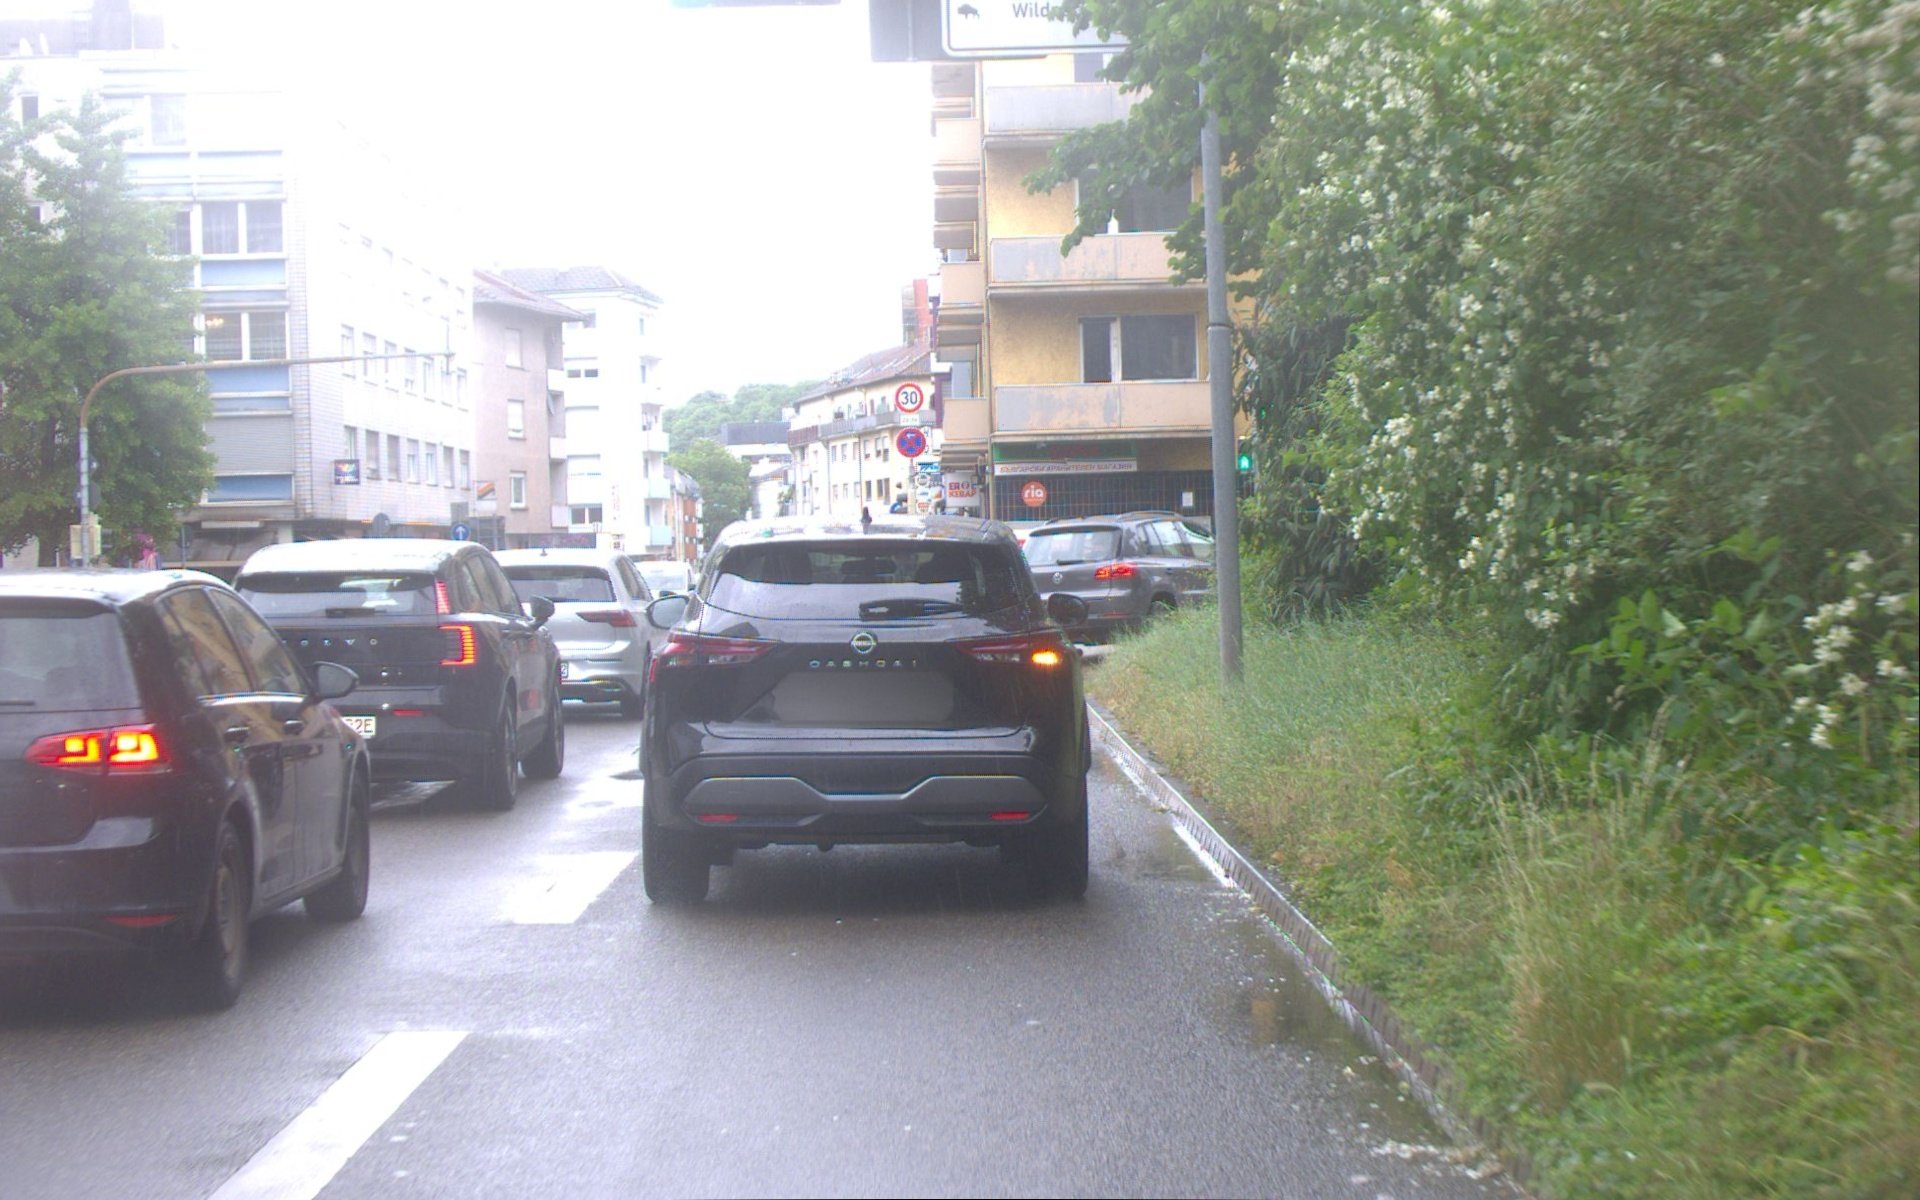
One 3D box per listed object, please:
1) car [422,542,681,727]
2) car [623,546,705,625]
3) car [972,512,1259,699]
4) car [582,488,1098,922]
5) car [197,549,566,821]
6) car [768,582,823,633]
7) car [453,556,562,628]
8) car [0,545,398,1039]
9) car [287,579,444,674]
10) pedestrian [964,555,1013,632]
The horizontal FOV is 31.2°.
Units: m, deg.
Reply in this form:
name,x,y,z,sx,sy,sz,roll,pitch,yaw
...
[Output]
name,x,y,z,sx,sy,sz,roll,pitch,yaw
car,-3.488,0.249,29.971,1.767,1.439,4.000,-2,1,0
car,-7.308,-0.381,85.283,1.779,1.809,4.406,-3,1,-3
car,1.860,0.027,39.860,1.996,2.007,3.995,-1,1,23
car,-0.529,0.366,15.118,1.959,1.647,4.000,0,1,-2
car,-3.323,0.426,20.389,1.613,1.415,3.967,-1,1,-2
car,-7.028,0.307,147.072,1.993,2.007,4.000,-3,1,1
car,-10.352,-0.208,78.934,1.779,1.473,3.793,-4,1,2
car,-3.203,0.561,12.271,1.755,1.448,4.000,-2,1,-1
car,-11.064,0.468,64.265,1.994,1.489,4.088,-5,1,2
pedestrian,0.608,-0.144,73.549,0.835,1.553,0.833,-7,1,-2
